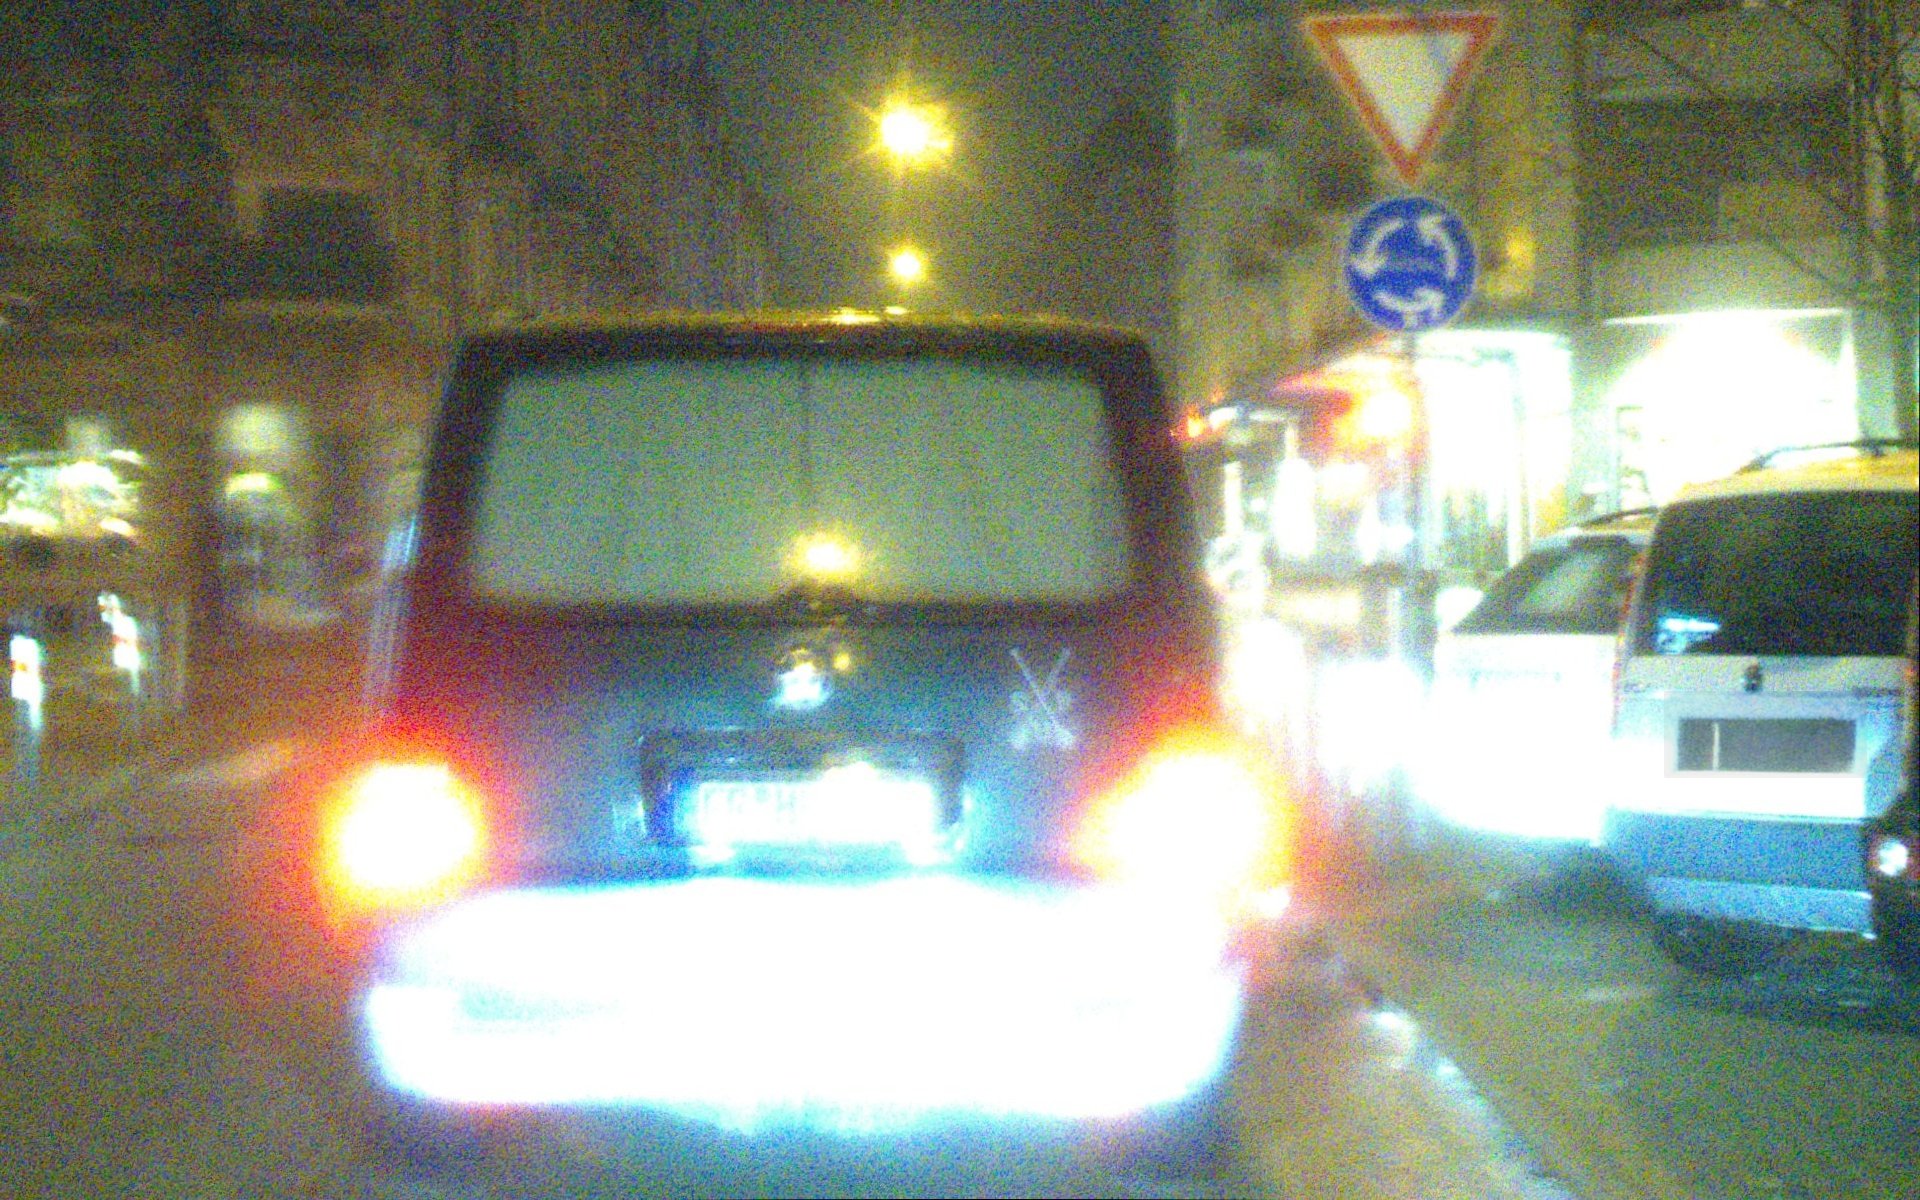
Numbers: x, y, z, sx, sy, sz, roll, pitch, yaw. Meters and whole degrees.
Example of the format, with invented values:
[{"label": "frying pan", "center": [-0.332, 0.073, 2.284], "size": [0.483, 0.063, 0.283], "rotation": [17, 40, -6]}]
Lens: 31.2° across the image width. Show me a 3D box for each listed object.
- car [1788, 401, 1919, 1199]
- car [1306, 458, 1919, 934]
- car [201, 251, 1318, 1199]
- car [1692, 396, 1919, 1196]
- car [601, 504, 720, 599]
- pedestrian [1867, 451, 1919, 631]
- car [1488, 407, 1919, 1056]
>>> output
[{"label": "car", "center": [3.388, 0.400, 5.265], "size": [4.060, 1.592, 1.834], "rotation": [-4, 2, -35]}, {"label": "car", "center": [3.663, 0.236, 13.578], "size": [4.249, 1.568, 1.772], "rotation": [-4, 2, -29]}, {"label": "car", "center": [-0.397, 0.280, 8.914], "size": [2.122, 1.984, 4.601], "rotation": [-1, 1, 0]}, {"label": "car", "center": [3.741, 0.309, 8.145], "size": [3.782, 1.706, 1.748], "rotation": [-4, 2, -35]}, {"label": "car", "center": [-4.911, -0.827, 56.798], "size": [1.586, 1.458, 4.024], "rotation": [2, 2, 0]}, {"label": "pedestrian", "center": [9.948, -0.613, 35.379], "size": [0.878, 1.827, 0.982], "rotation": [0, 1, 36]}, {"label": "car", "center": [3.650, 0.243, 10.632], "size": [3.729, 1.706, 1.771], "rotation": [-4, 2, -35]}]
